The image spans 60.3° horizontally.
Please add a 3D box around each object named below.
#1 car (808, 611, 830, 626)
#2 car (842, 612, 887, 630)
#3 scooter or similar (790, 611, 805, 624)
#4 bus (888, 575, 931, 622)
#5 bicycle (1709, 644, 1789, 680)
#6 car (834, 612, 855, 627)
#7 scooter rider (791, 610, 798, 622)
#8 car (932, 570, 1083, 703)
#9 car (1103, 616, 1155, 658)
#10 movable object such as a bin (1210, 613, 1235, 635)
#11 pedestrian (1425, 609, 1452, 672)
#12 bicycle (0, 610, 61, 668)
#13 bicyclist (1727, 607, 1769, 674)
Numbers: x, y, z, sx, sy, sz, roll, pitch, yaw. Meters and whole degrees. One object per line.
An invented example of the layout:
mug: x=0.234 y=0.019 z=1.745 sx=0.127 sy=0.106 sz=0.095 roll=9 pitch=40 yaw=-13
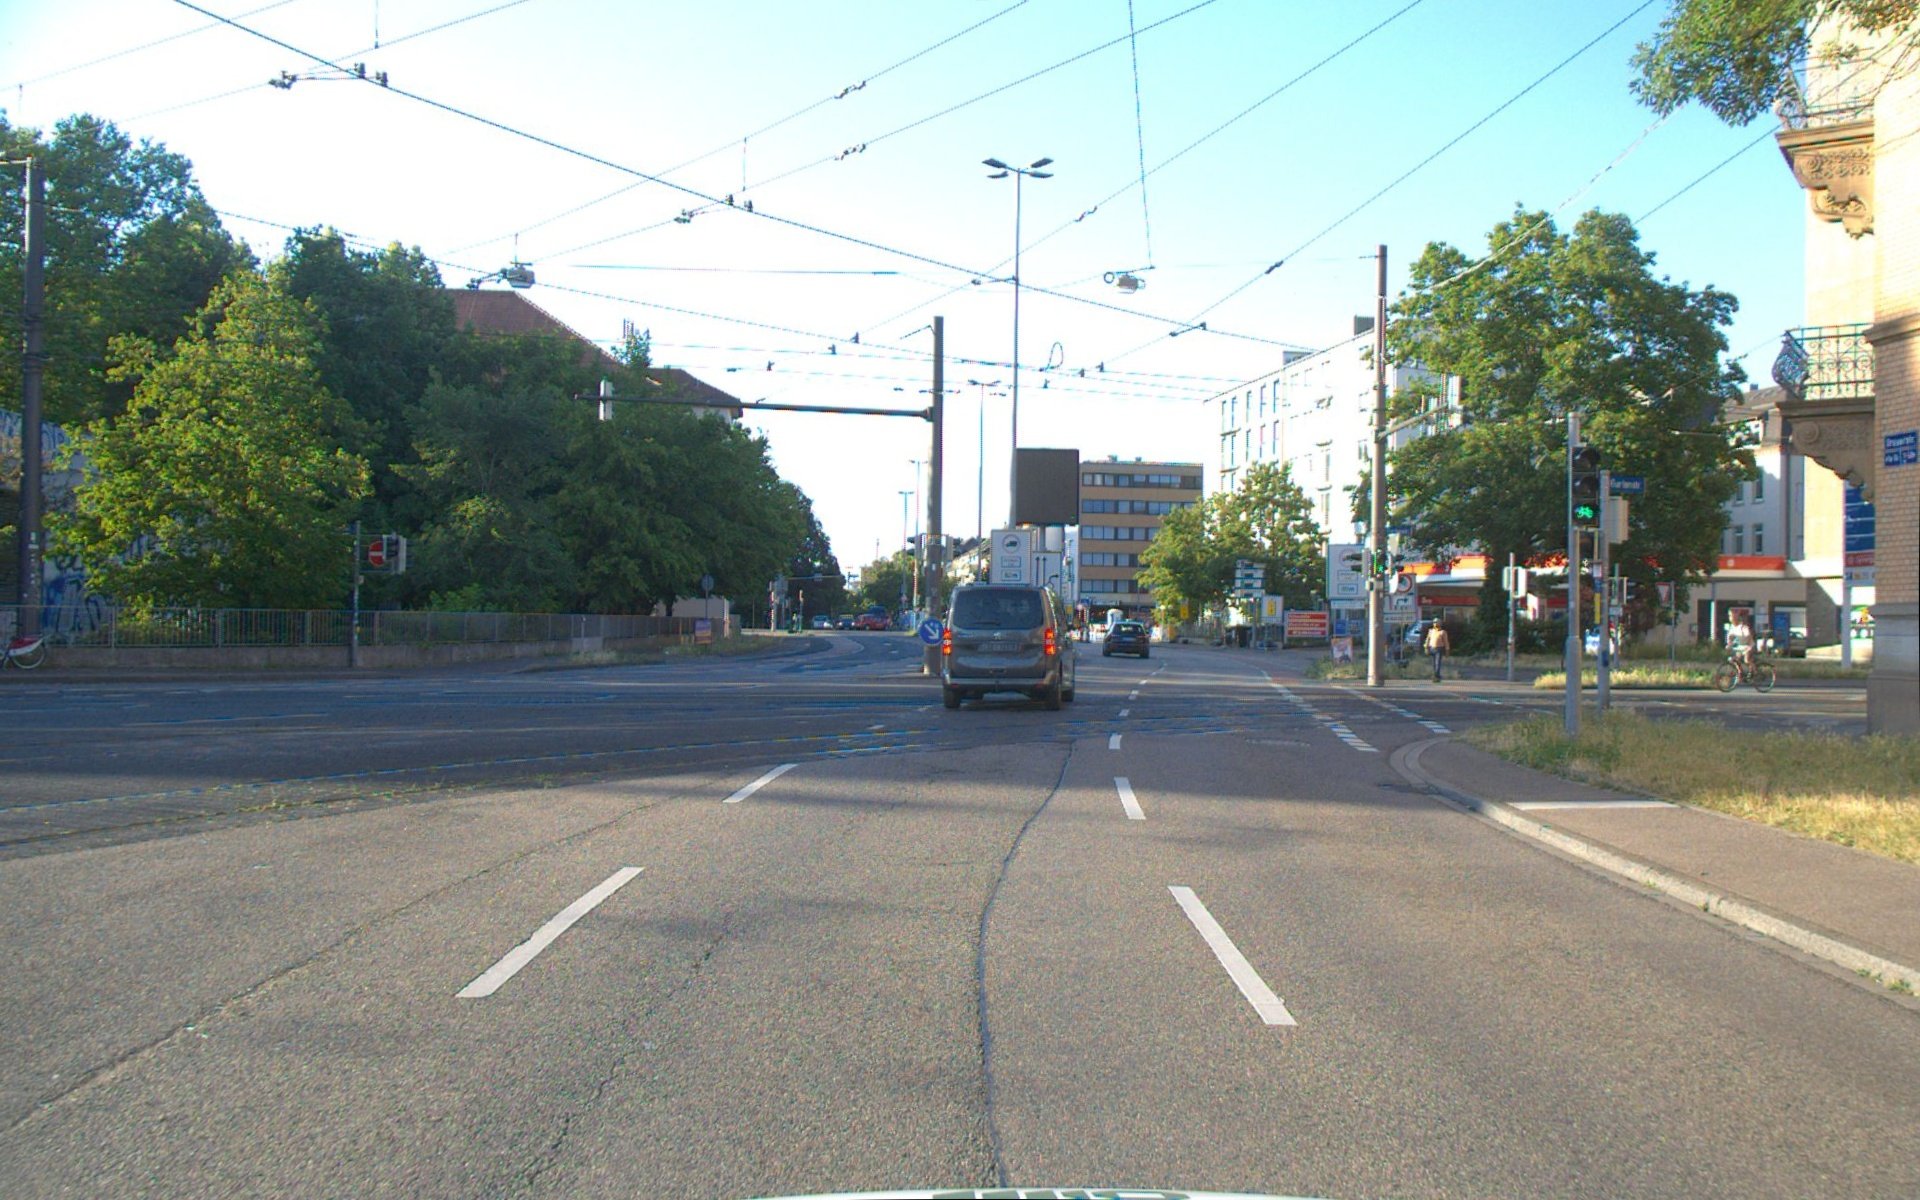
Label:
car: x=-15.235 y=1.988 z=178.890 sx=1.952 sy=1.623 sz=4.001 roll=1 pitch=0 yaw=1
car: x=-9.132 y=1.995 z=157.991 sx=3.933 sy=1.623 sz=1.986 roll=1 pitch=0 yaw=-23
scooter or similar: x=-13.636 y=1.464 z=138.704 sx=1.081 sy=0.994 sz=0.557 roll=2 pitch=-1 yaw=-16
bus: x=-5.338 y=-0.098 z=173.917 sx=3.228 sy=4.698 sz=9.980 roll=2 pitch=-1 yaw=-8
bicycle: x=19.076 y=1.501 z=40.000 sx=1.779 sy=0.843 sz=0.620 roll=1 pitch=-1 yaw=-15
car: x=-12.499 y=2.078 z=179.244 sx=1.952 sy=1.623 sz=4.001 roll=1 pitch=0 yaw=1
scooter rider: x=-13.850 y=1.343 z=138.652 sx=0.501 sy=1.054 sz=0.444 roll=2 pitch=-1 yaw=-16
car: x=0.873 y=0.579 z=27.102 sx=1.951 sy=1.934 sz=4.302 roll=2 pitch=-1 yaw=8
car: x=6.787 y=1.470 z=66.669 sx=1.807 sy=1.571 sz=3.632 roll=1 pitch=0 yaw=1
movable object such as a bin: x=17.083 y=1.559 z=107.604 sx=1.432 sy=1.410 sz=1.547 roll=0 pitch=0 yaw=3
pedestrian: x=12.578 y=1.058 z=43.498 sx=0.540 sy=1.657 sz=0.700 roll=1 pitch=-1 yaw=4
bicycle: x=-19.169 y=0.783 z=33.392 sx=0.549 sy=1.162 sz=1.711 roll=0 pitch=0 yaw=42
bicyclist: x=19.067 y=0.971 z=40.010 sx=0.682 sy=1.611 sz=0.635 roll=1 pitch=-1 yaw=-14
